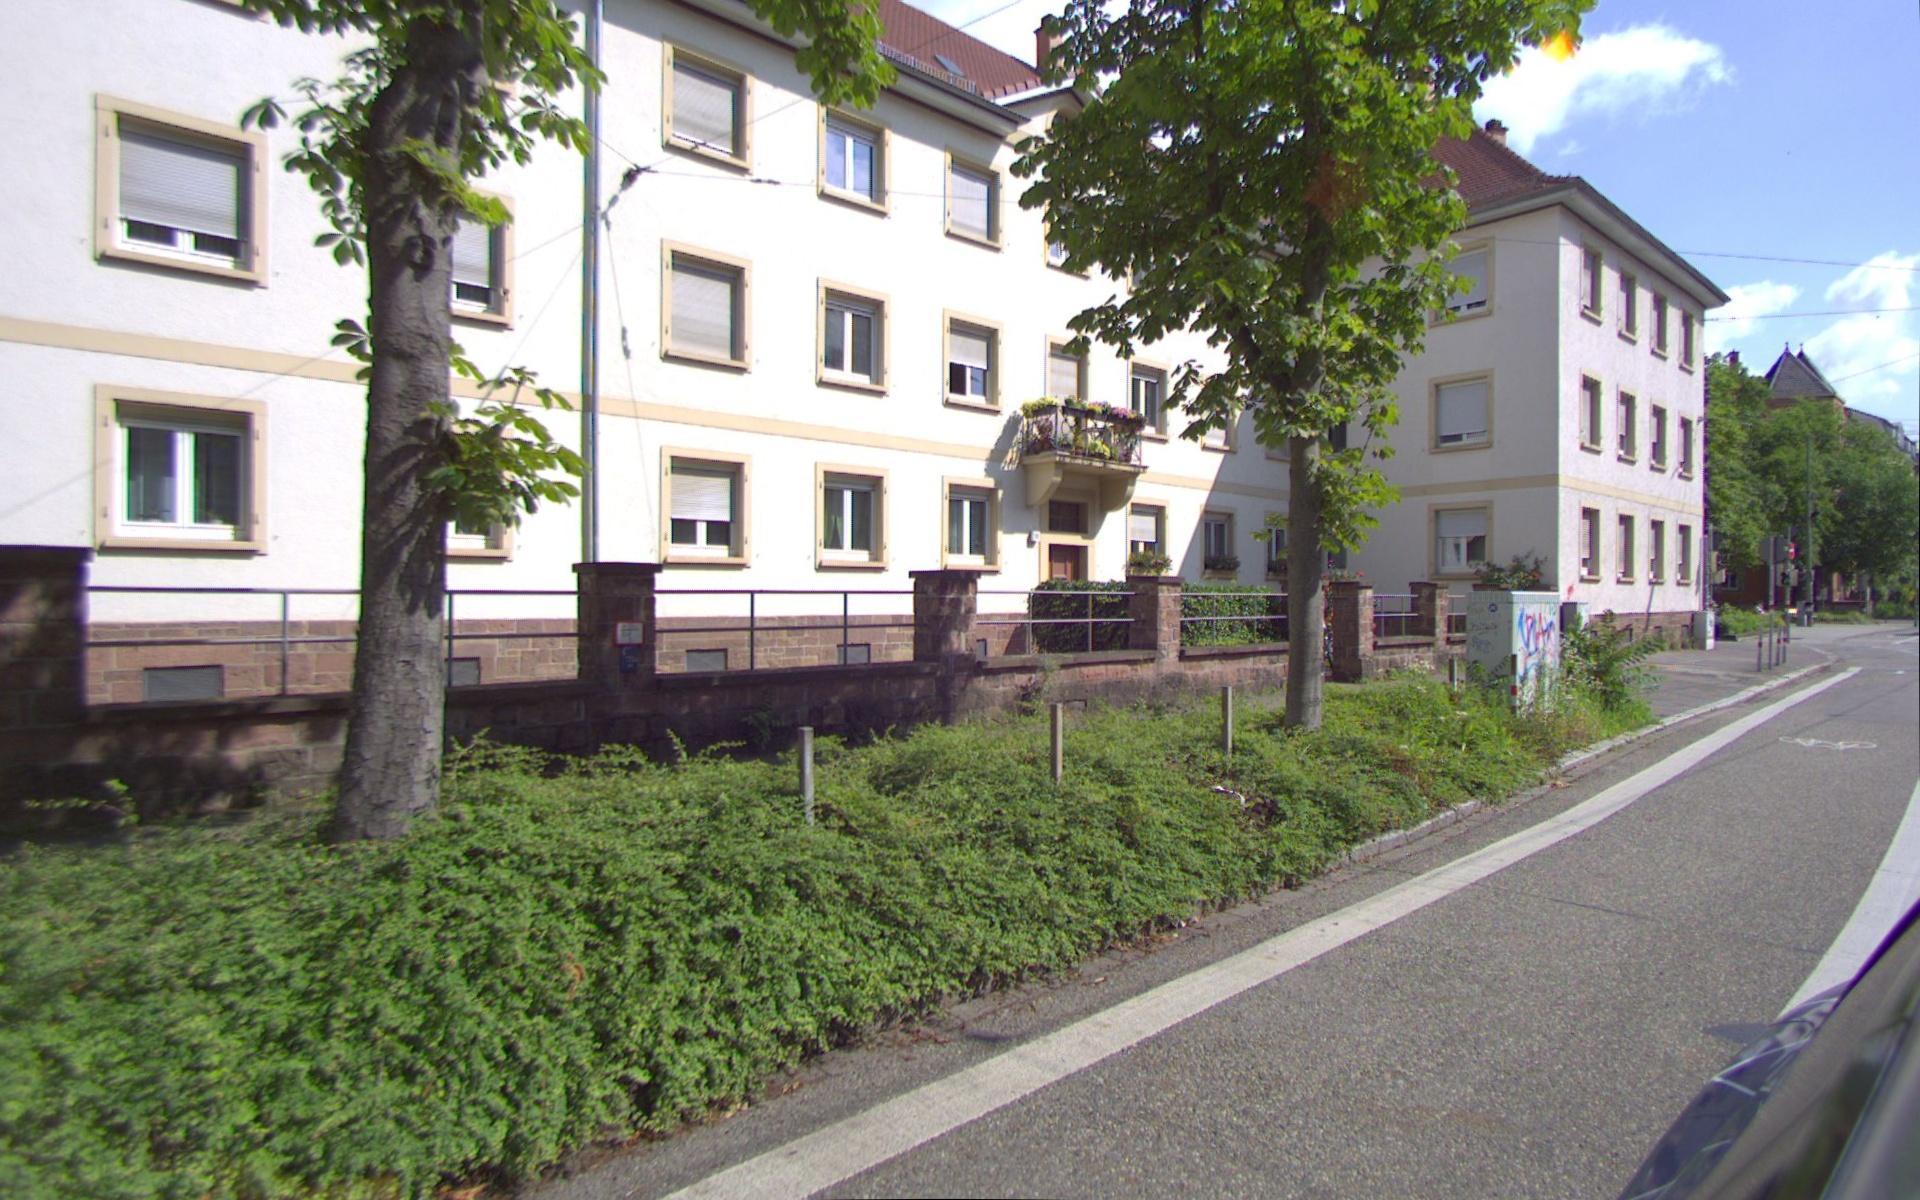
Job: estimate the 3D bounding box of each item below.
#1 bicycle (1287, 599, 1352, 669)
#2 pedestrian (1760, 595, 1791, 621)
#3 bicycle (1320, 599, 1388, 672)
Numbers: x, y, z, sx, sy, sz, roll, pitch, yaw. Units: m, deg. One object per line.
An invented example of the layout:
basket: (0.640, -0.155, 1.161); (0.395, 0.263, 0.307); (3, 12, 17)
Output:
bicycle: (6.502, 0.592, 18.264); (1.466, 1.216, 0.505); (0, 0, -44)
pedestrian: (41.389, 0.404, 51.352); (1.156, 1.217, 0.893); (4, 2, 42)
bicycle: (6.846, 0.590, 17.567); (1.465, 1.216, 0.505); (0, 0, -42)
